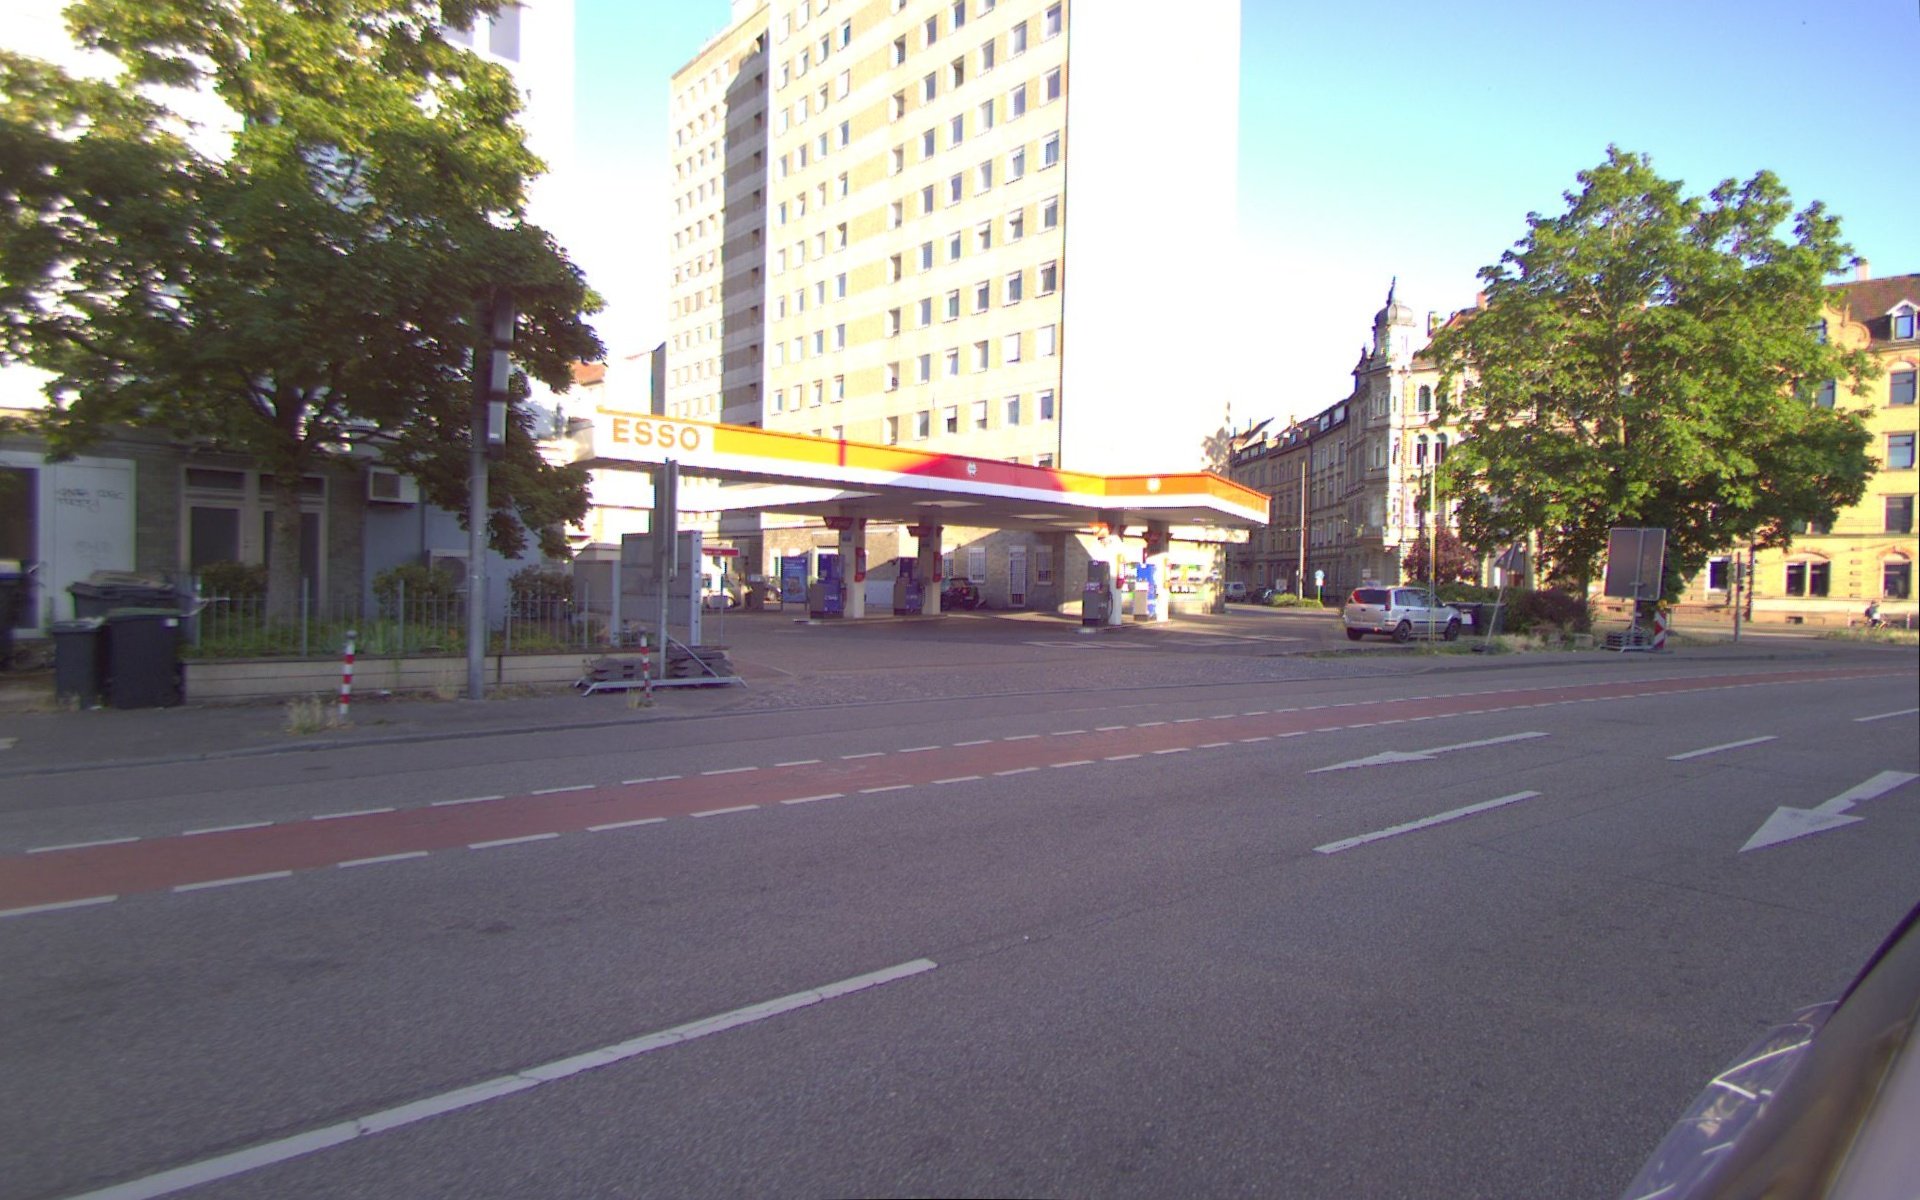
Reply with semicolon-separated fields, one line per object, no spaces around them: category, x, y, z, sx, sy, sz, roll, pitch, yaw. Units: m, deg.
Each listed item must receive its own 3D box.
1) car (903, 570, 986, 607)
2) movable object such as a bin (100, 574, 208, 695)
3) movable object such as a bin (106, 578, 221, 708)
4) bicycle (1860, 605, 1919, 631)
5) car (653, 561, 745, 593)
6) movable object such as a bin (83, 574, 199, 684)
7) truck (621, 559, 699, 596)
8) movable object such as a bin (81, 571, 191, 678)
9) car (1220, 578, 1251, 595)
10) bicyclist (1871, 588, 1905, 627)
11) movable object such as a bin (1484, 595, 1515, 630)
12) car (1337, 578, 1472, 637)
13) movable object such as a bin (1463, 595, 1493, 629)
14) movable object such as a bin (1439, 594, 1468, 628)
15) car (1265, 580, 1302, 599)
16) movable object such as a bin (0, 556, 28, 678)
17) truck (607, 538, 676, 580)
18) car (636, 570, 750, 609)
car;-0.739;-0.539;45.782;1.739;1.536;3.791;0;2;-41
movable object such as a bin;-9.534;0.372;11.970;0.938;1.345;0.955;0;1;-42
movable object such as a bin;-8.863;0.439;11.255;0.938;1.345;0.955;0;1;-42
bicycle;40.873;0.786;44.496;1.921;1.072;0.444;2;1;44
car;-12.762;-1.134;49.594;3.928;1.482;1.998;0;2;-39
movable object such as a bin;-10.297;0.329;12.723;1.079;1.299;0.955;0;1;-42
truck;-15.381;-1.150;51.990;3.430;1.852;1.780;0;2;-41
movable object such as a bin;-10.964;0.297;13.464;1.079;1.345;0.955;0;1;-42
car;28.166;-1.378;103.643;1.962;1.707;4.001;1;1;0
bicyclist;40.876;0.321;44.580;1.062;1.669;0.721;2;1;44
movable object such as a bin;16.371;0.387;30.711;0.674;1.031;0.544;0;1;-35
car;12.529;0.174;28.487;3.722;1.535;1.691;0;2;-33
movable object such as a bin;16.082;0.371;31.411;0.674;1.031;0.544;0;1;-35
movable object such as a bin;15.646;0.344;32.064;0.674;1.031;0.544;0;1;-35
car;27.967;-0.944;87.634;1.963;1.552;3.999;1;1;1
movable object such as a bin;-12.490;0.194;12.707;1.142;1.517;1.033;0;1;-42
truck;-24.440;-3.115;77.648;4.657;3.106;1.998;0;1;-39
car;-10.593;-0.431;40.221;3.928;1.482;1.998;0;2;-39
